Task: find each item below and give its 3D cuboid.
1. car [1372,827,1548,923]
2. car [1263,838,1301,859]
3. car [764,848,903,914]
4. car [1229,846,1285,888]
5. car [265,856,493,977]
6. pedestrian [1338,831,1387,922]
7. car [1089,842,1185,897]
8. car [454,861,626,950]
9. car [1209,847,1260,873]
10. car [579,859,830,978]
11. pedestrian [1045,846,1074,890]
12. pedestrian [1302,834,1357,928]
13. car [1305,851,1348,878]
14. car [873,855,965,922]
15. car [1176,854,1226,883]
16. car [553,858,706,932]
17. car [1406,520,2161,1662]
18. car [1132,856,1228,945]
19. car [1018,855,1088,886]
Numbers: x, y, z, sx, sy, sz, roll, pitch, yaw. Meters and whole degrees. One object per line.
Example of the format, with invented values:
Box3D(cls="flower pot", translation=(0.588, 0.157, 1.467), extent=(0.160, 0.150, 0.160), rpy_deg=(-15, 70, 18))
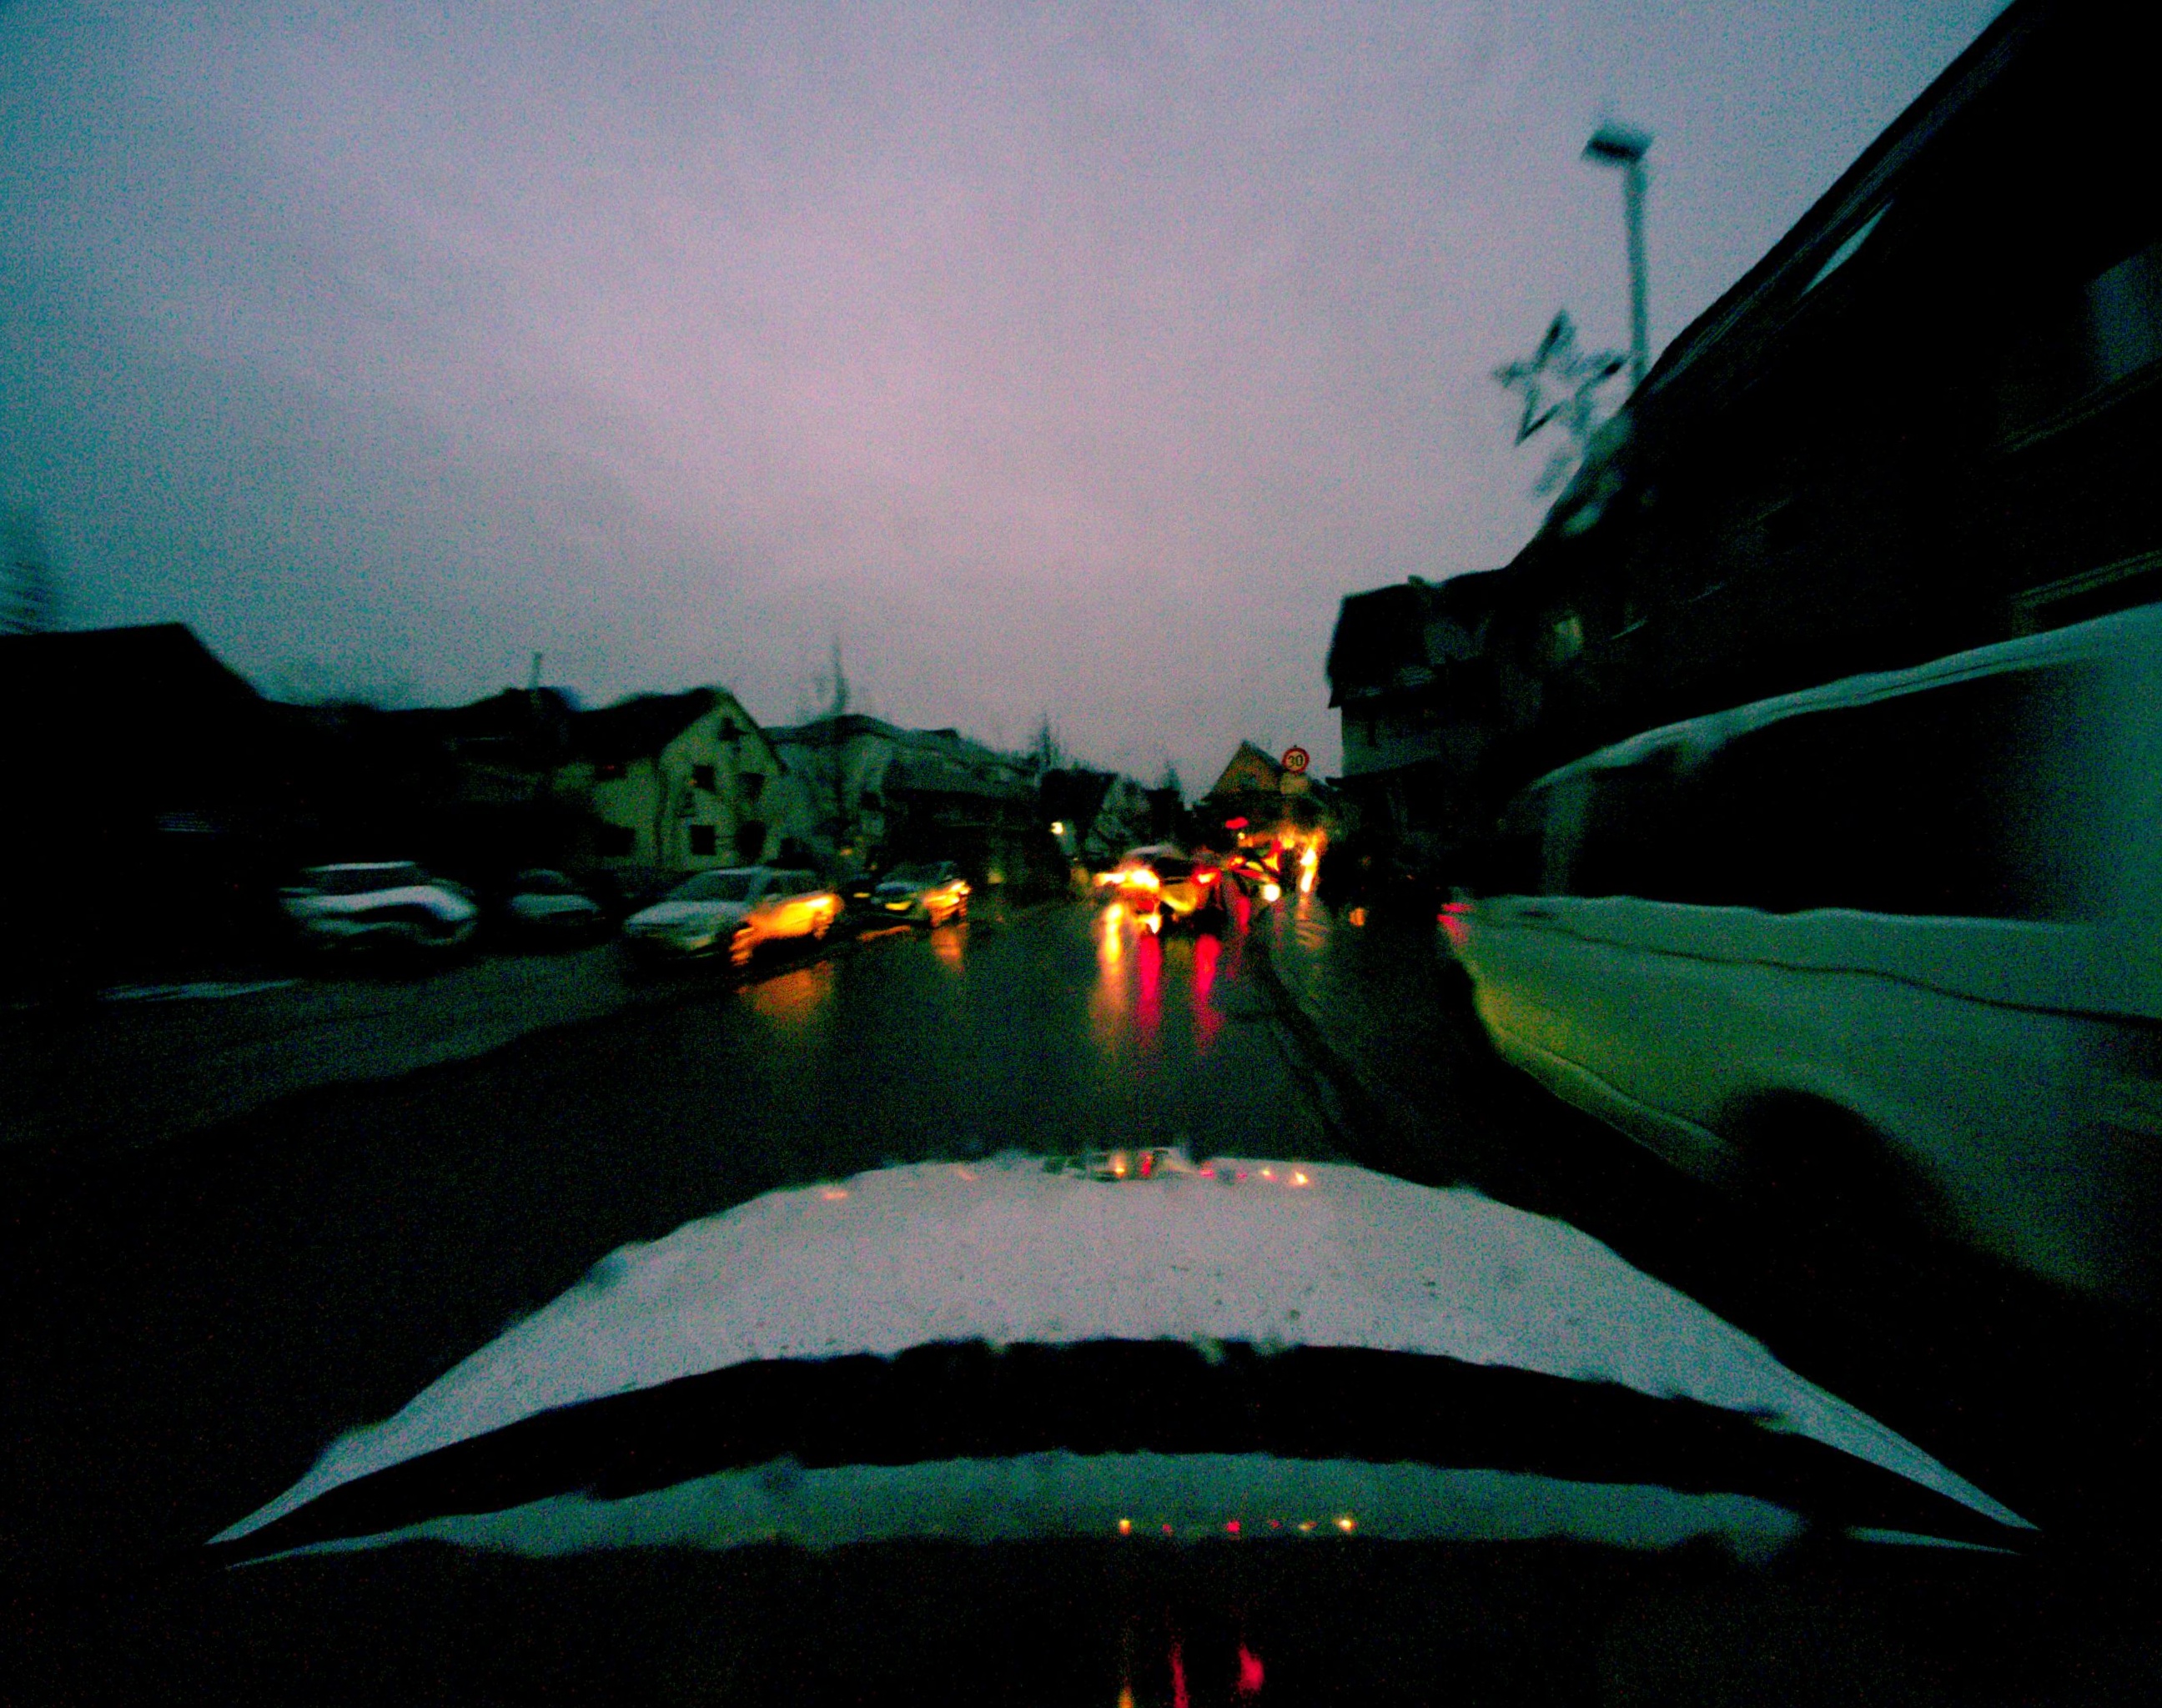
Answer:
Box3D(cls="car", translation=(7.227, 0.362, 15.953), extent=(1.728, 1.561, 3.664), rpy_deg=(-3, 0, 1))
Box3D(cls="car", translation=(14.916, -0.437, 60.188), extent=(1.654, 1.516, 4.025), rpy_deg=(0, 1, 30))
Box3D(cls="car", translation=(-8.282, 0.932, 26.931), extent=(2.086, 1.885, 5.330), rpy_deg=(-3, -1, -45))
Box3D(cls="car", translation=(7.451, 0.516, 34.186), extent=(1.783, 1.662, 4.020), rpy_deg=(-1, 0, 19))
Box3D(cls="car", translation=(-11.748, 0.968, 13.527), extent=(4.595, 1.654, 2.000), rpy_deg=(-3, -1, 38))
Box3D(cls="pedestrian", translation=(5.400, 0.426, 15.647), extent=(0.577, 1.669, 0.791), rpy_deg=(-3, 0, -1))
Box3D(cls="car", translation=(2.201, 0.519, 30.401), extent=(1.928, 1.750, 4.878), rpy_deg=(-5, -1, 23))
Box3D(cls="car", translation=(-11.217, 1.051, 16.784), extent=(4.060, 1.582, 1.732), rpy_deg=(-4, -1, 38))
Box3D(cls="car", translation=(9.721, 0.369, 51.458), extent=(1.732, 1.516, 4.369), rpy_deg=(0, 1, 31))
Box3D(cls="car", translation=(-5.852, 0.908, 13.360), extent=(1.896, 1.533, 4.260), rpy_deg=(-2, 0, 3))
Box3D(cls="pedestrian", translation=(-0.928, 0.623, 35.583), extent=(0.746, 1.866, 1.067), rpy_deg=(-3, -1, 30))
Box3D(cls="pedestrian", translation=(4.731, 0.503, 15.524), extent=(0.711, 1.699, 0.804), rpy_deg=(-3, 0, -1))
Box3D(cls="car", translation=(14.345, 0.581, 47.522), extent=(1.634, 1.442, 3.890), rpy_deg=(-3, -1, 28))
Box3D(cls="car", translation=(-4.092, 0.825, 21.103), extent=(1.830, 1.535, 3.671), rpy_deg=(-2, 0, -4))
Box3D(cls="car", translation=(6.951, 0.816, 47.045), extent=(1.676, 1.516, 3.796), rpy_deg=(-1, 0, 27))
Box3D(cls="car", translation=(-10.823, 0.921, 19.436), extent=(3.949, 1.530, 2.012), rpy_deg=(-2, 0, 43))
Box3D(cls="car", translation=(3.082, 0.361, 3.423), extent=(1.962, 1.960, 4.862), rpy_deg=(-3, 0, 7))
Box3D(cls="car", translation=(2.488, 1.014, 19.932), extent=(1.982, 1.795, 4.660), rpy_deg=(-3, 0, 9))
Box3D(cls="car", translation=(-1.592, 0.921, 44.815), extent=(1.748, 1.477, 4.042), rpy_deg=(-3, -1, -37))
